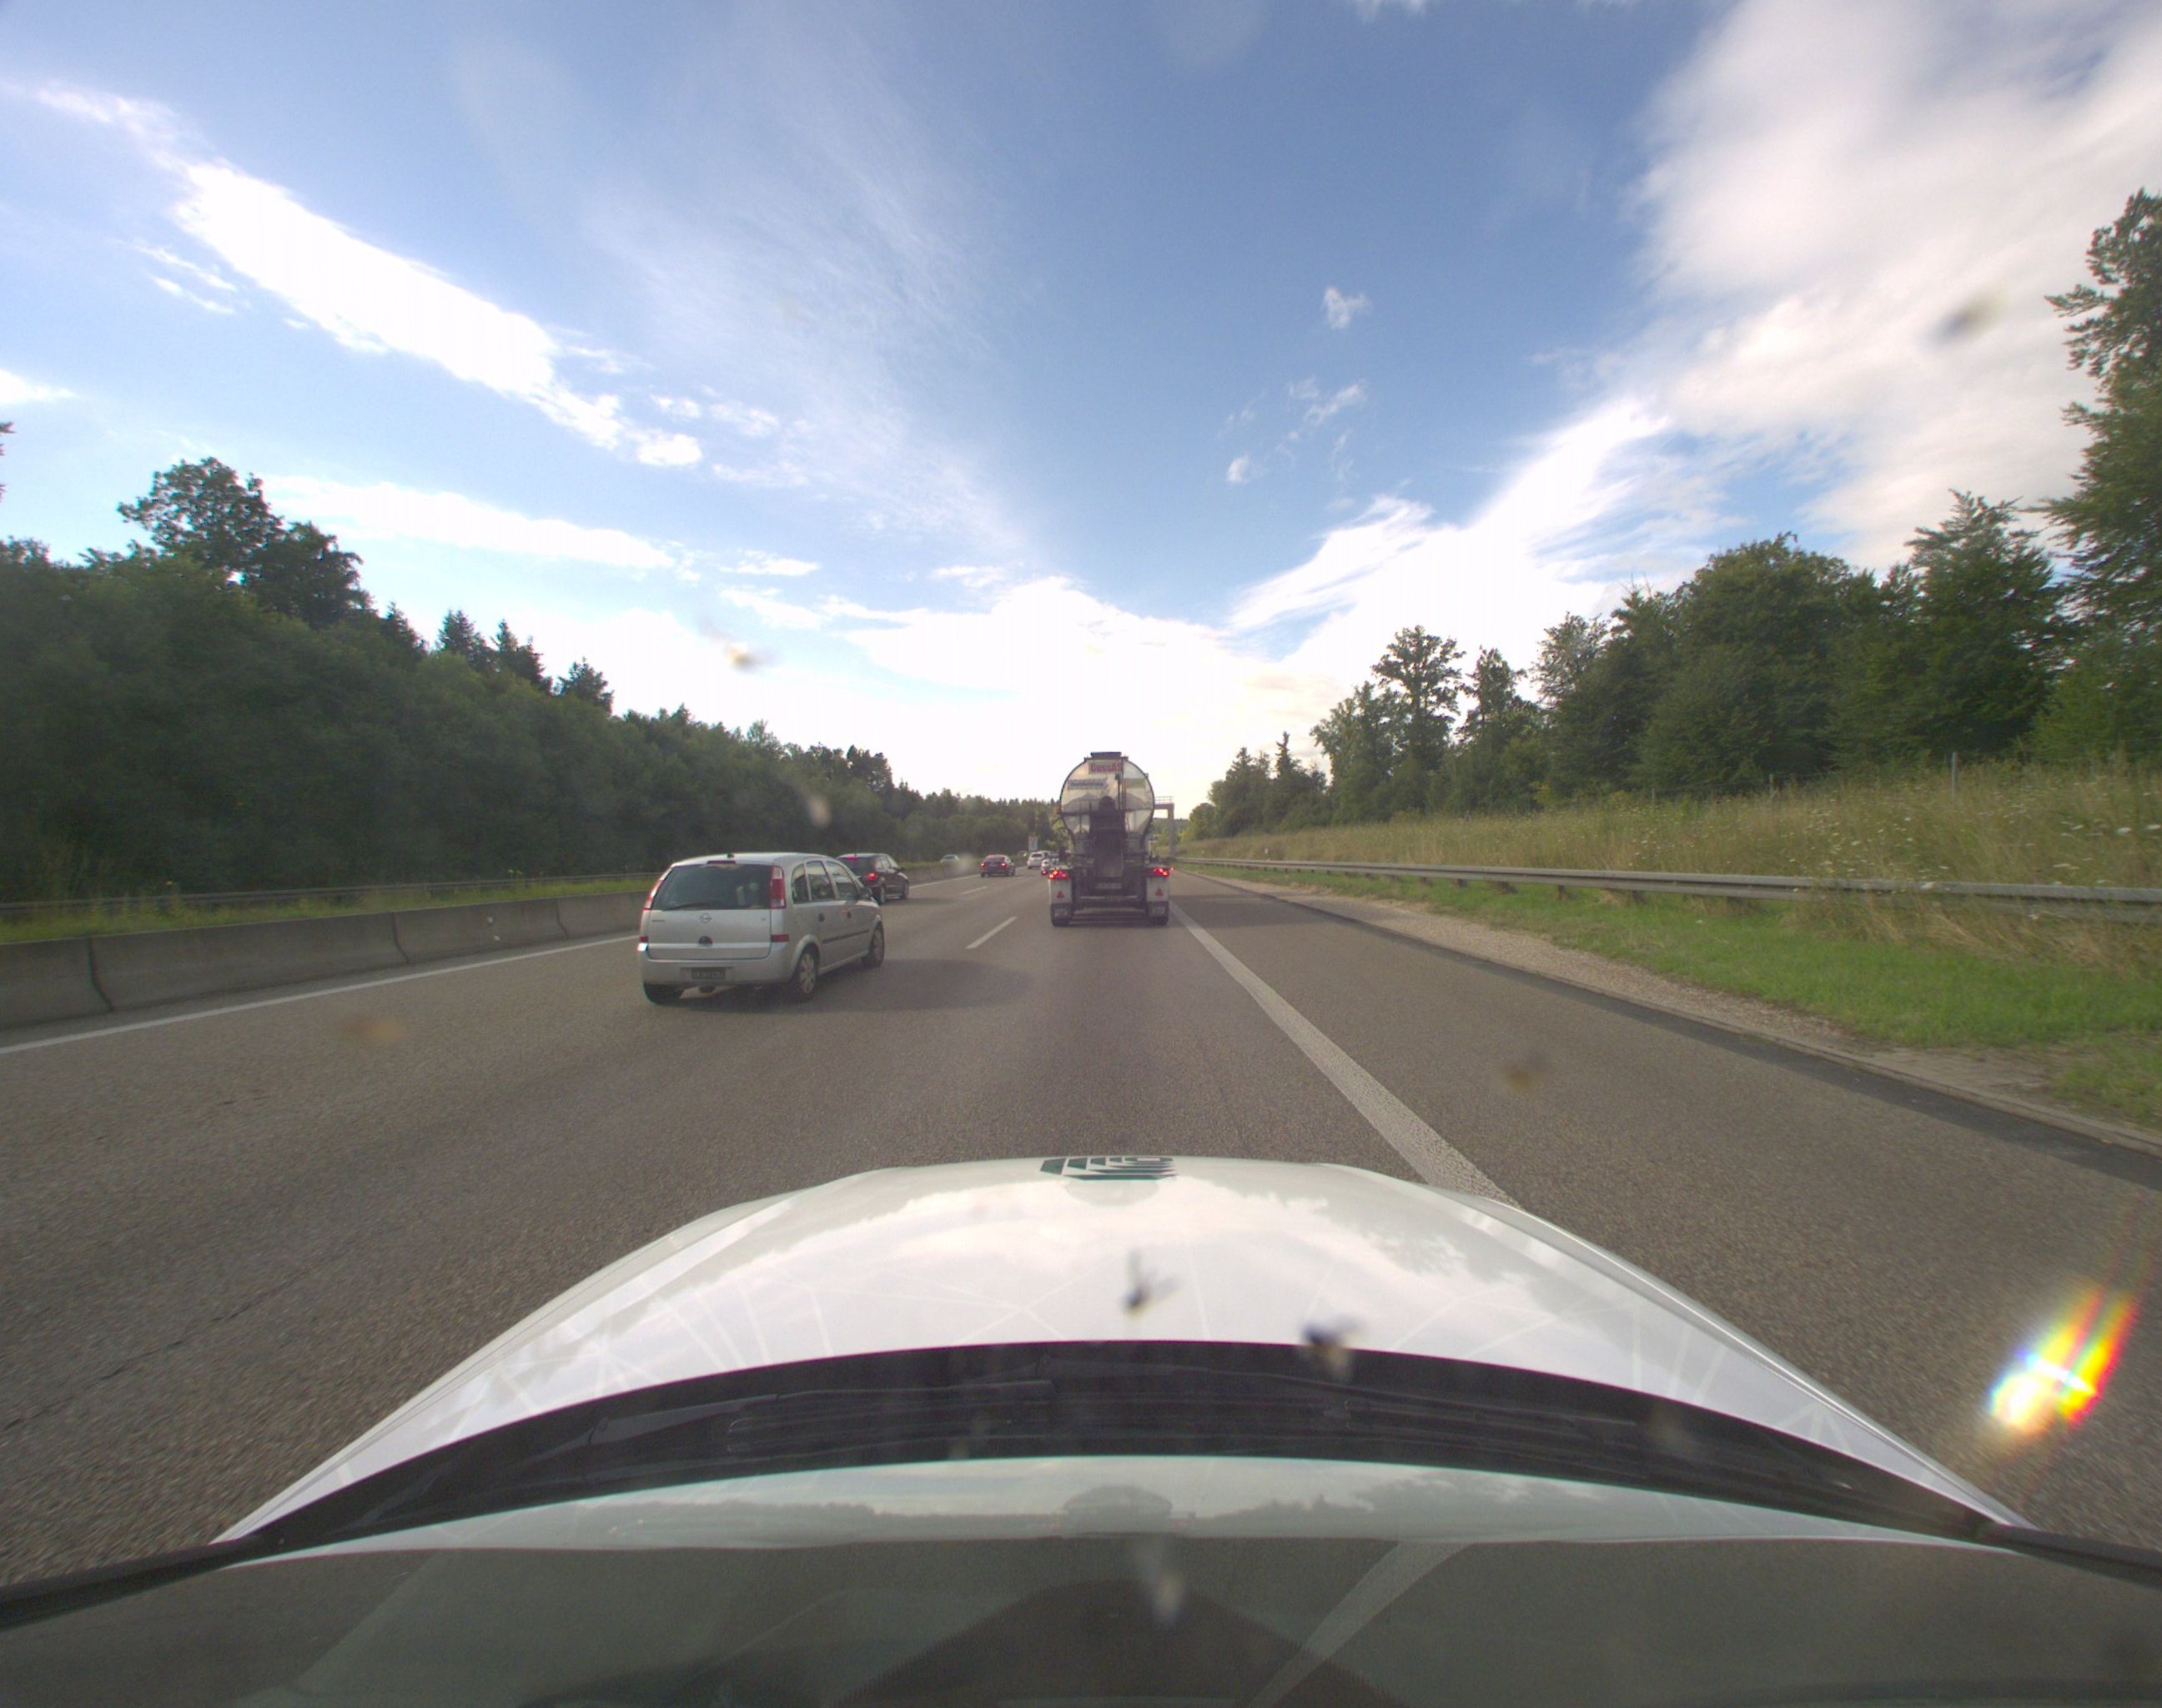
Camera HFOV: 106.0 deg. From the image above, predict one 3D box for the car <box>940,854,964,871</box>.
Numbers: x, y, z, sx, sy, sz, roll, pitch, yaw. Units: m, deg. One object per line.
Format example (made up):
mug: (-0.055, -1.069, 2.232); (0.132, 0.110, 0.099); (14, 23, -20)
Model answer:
car: (-14.862, 0.949, 93.755); (1.919, 1.905, 4.431); (-1, 0, 1)

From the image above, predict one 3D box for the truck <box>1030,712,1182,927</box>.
truck: (0.762, -0.693, 21.621); (2.901, 4.157, 11.277); (-1, 0, 3)

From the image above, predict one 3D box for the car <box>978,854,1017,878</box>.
car: (-5.403, 0.727, 53.160); (1.849, 1.431, 4.844); (-1, 0, 2)

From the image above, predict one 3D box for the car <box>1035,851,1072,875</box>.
car: (-1.774, 0.572, 55.111); (2.052, 1.499, 5.740); (-1, 0, 2)

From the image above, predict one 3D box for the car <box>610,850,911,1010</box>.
car: (-3.565, 0.735, 10.064); (1.828, 1.517, 4.336); (-1, 0, 2)

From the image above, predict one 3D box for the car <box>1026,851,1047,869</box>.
car: (-4.063, 0.555, 74.788); (1.612, 1.544, 3.521); (-1, 0, 2)

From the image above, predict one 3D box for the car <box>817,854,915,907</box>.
car: (-6.831, 0.786, 26.338); (1.828, 1.517, 4.336); (-1, 0, 2)

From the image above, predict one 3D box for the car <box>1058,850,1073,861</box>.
car: (-2.128, 0.200, 114.360); (1.800, 1.585, 4.209); (-1, 1, 2)
